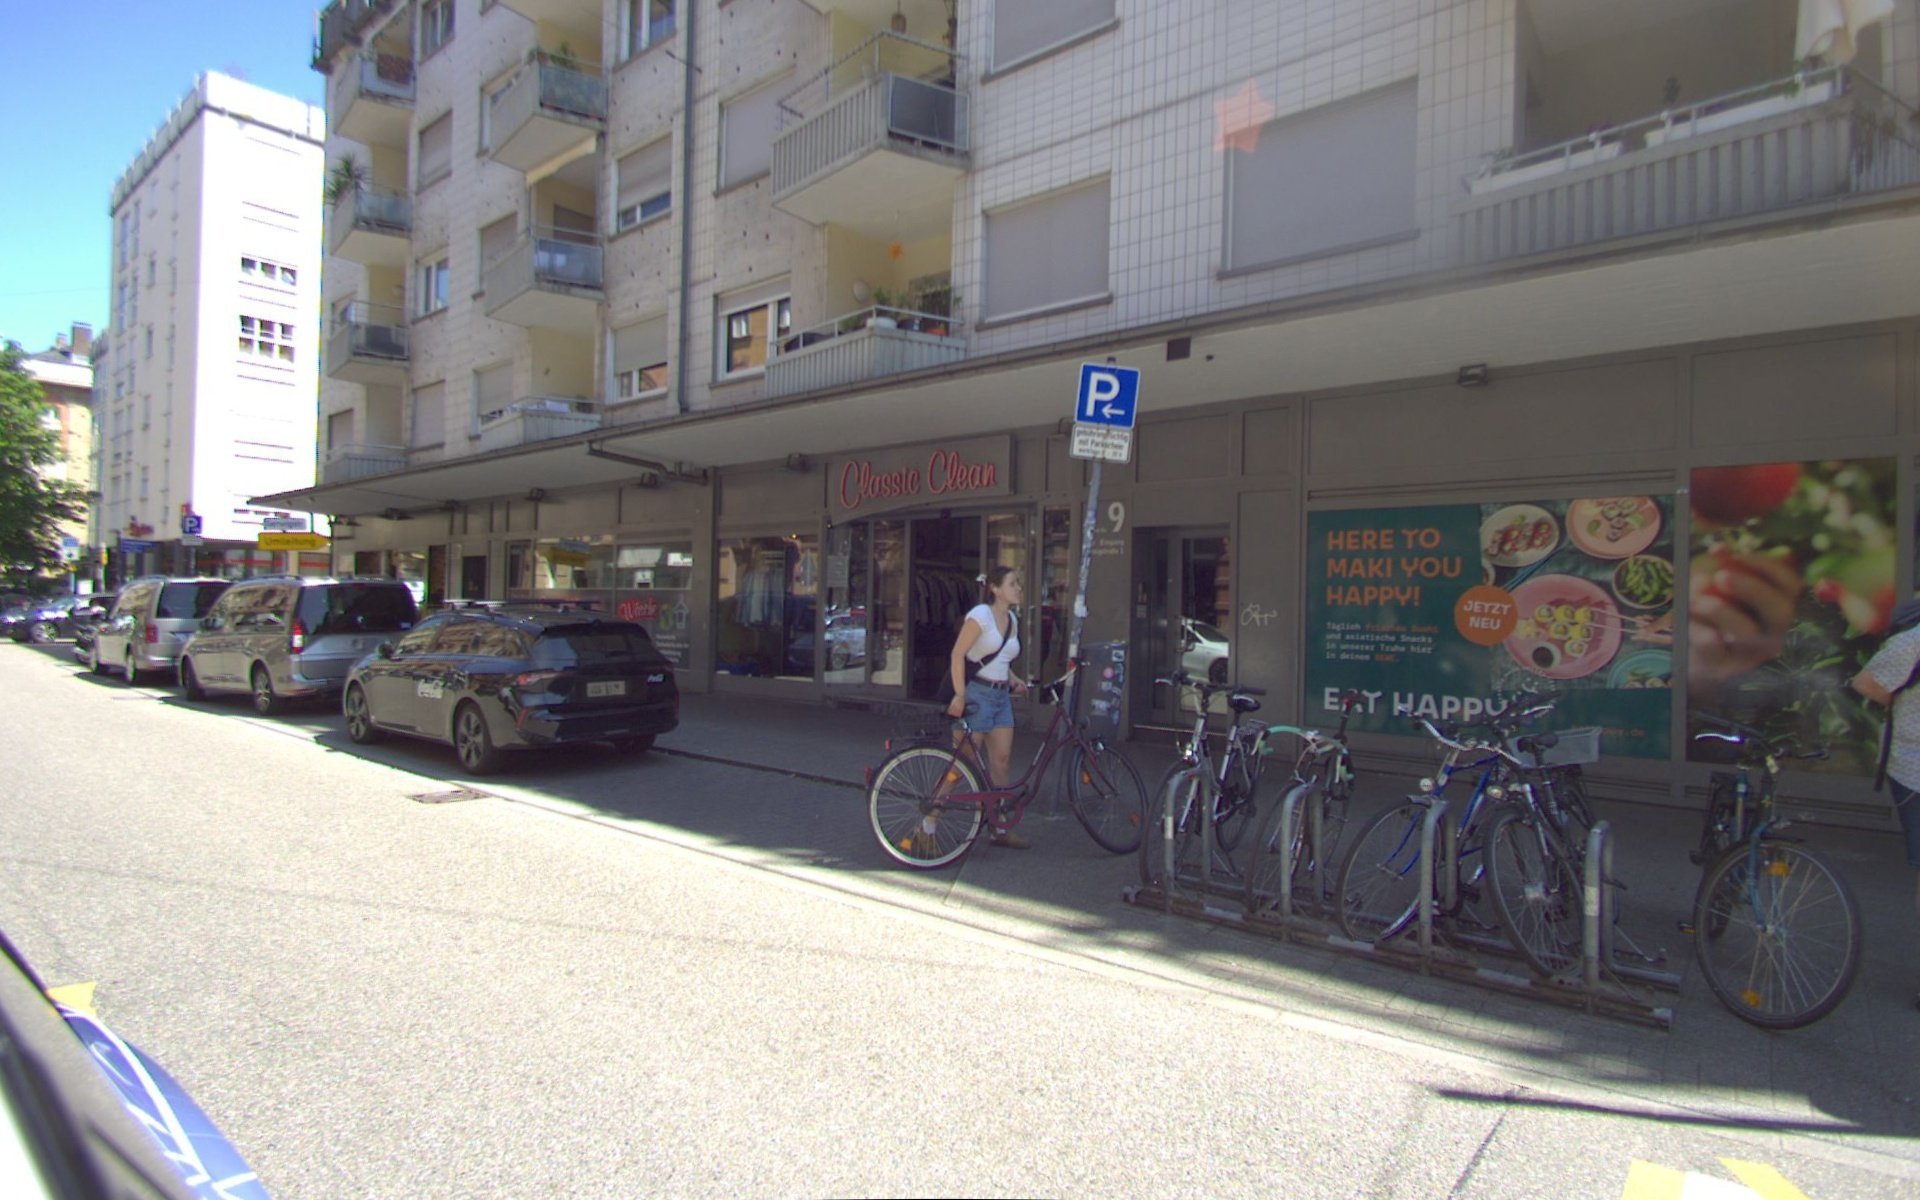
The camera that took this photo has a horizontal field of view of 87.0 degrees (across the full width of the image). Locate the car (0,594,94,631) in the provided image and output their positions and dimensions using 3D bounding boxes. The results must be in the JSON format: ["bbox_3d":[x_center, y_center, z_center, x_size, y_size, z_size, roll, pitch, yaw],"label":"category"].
[{"bbox_3d":[-39.602,0.541,43.164,1.651,1.540,3.836,0,-2,40],"label":"car"}]

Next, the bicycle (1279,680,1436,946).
[{"bbox_3d":[2.071,0.999,5.182,0.397,1.038,1.480,0,1,36],"label":"bicycle"}]

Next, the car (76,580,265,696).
[{"bbox_3d":[-14.483,0.610,18.467,4.897,1.843,1.770,0,0,40],"label":"car"}]

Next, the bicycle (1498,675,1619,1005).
[{"bbox_3d":[2.721,0.962,4.547,0.335,1.125,1.506,0,1,36],"label":"bicycle"}]

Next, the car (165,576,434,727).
[{"bbox_3d":[-9.514,0.626,14.428,4.692,1.825,1.772,0,0,38],"label":"car"}]

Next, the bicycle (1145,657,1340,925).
[{"bbox_3d":[1.595,0.946,5.556,0.526,1.148,1.569,0,1,36],"label":"bicycle"}]

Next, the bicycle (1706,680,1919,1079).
[{"bbox_3d":[3.441,0.971,4.114,0.576,1.131,1.783,0,1,34],"label":"bicycle"}]

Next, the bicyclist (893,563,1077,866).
[{"bbox_3d":[0.133,0.662,6.145,0.962,1.719,0.626,1,-1,-12],"label":"bicyclist"}]

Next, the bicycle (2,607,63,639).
[{"bbox_3d":[-32.829,0.815,35.832,1.587,1.099,0.371,0,0,-45],"label":"bicycle"}]

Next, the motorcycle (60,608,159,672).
[{"bbox_3d":[-17.593,0.811,20.963,1.530,1.293,0.395,0,1,-18],"label":"motorcycle"}]

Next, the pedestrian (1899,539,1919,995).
[{"bbox_3d":[3.987,0.640,3.768,0.631,1.740,0.650,0,-1,36],"label":"pedestrian"}]

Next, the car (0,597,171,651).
[{"bbox_3d":[-25.306,0.694,28.995,1.809,1.436,3.849,0,-1,32],"label":"car"}]

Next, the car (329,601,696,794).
[{"bbox_3d":[-4.656,0.788,10.188,4.461,1.536,1.652,0,0,41],"label":"car"}]

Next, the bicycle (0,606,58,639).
[{"bbox_3d":[-32.153,0.775,34.868,1.587,1.099,0.371,0,0,-45],"label":"bicycle"}]

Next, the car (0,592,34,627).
[{"bbox_3d":[-49.439,0.457,51.015,1.651,1.760,3.836,0,-2,40],"label":"car"}]

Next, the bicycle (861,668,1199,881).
[{"bbox_3d":[0.402,0.989,6.050,1.908,1.100,0.606,0,-1,-12],"label":"bicycle"}]

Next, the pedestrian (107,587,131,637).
[{"bbox_3d":[-36.300,0.537,43.675,0.599,2.141,0.496,1,-1,-14],"label":"pedestrian"}]

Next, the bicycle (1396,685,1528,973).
[{"bbox_3d":[2.423,0.995,4.823,0.335,1.043,1.435,0,1,36],"label":"bicycle"}]

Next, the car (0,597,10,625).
[{"bbox_3d":[-53.845,0.550,54.435,1.651,1.507,3.836,0,-2,40],"label":"car"}]
